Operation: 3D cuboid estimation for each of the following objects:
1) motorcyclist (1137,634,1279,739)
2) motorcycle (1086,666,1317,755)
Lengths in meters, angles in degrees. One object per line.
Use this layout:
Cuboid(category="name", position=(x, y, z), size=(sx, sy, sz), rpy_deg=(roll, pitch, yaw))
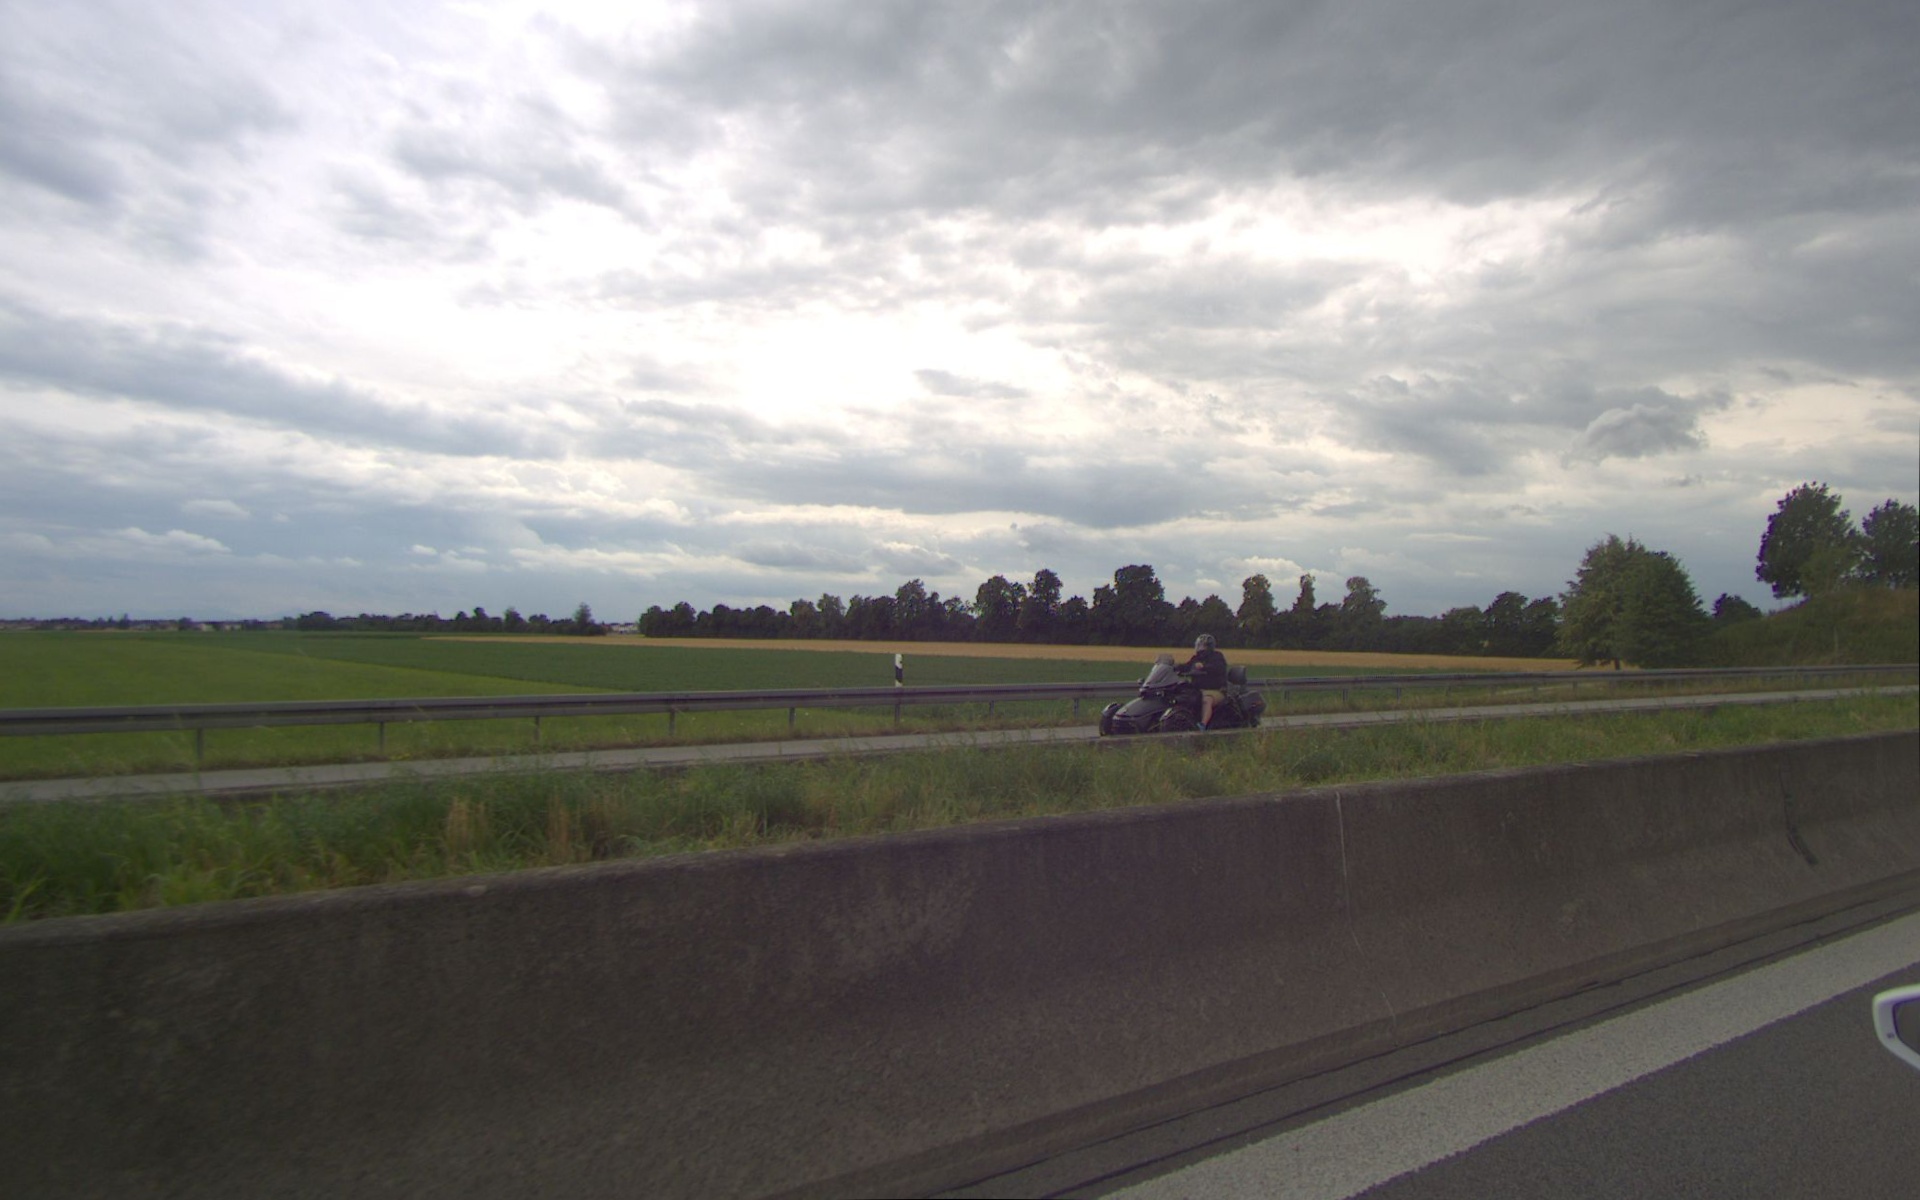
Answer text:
Cuboid(category="motorcyclist", position=(3.509, 1.197, 14.314), size=(1.238, 1.389, 1.559), rpy_deg=(2, -3, -30))
Cuboid(category="motorcycle", position=(3.432, 1.506, 14.260), size=(2.947, 1.092, 1.559), rpy_deg=(2, -3, -30))
